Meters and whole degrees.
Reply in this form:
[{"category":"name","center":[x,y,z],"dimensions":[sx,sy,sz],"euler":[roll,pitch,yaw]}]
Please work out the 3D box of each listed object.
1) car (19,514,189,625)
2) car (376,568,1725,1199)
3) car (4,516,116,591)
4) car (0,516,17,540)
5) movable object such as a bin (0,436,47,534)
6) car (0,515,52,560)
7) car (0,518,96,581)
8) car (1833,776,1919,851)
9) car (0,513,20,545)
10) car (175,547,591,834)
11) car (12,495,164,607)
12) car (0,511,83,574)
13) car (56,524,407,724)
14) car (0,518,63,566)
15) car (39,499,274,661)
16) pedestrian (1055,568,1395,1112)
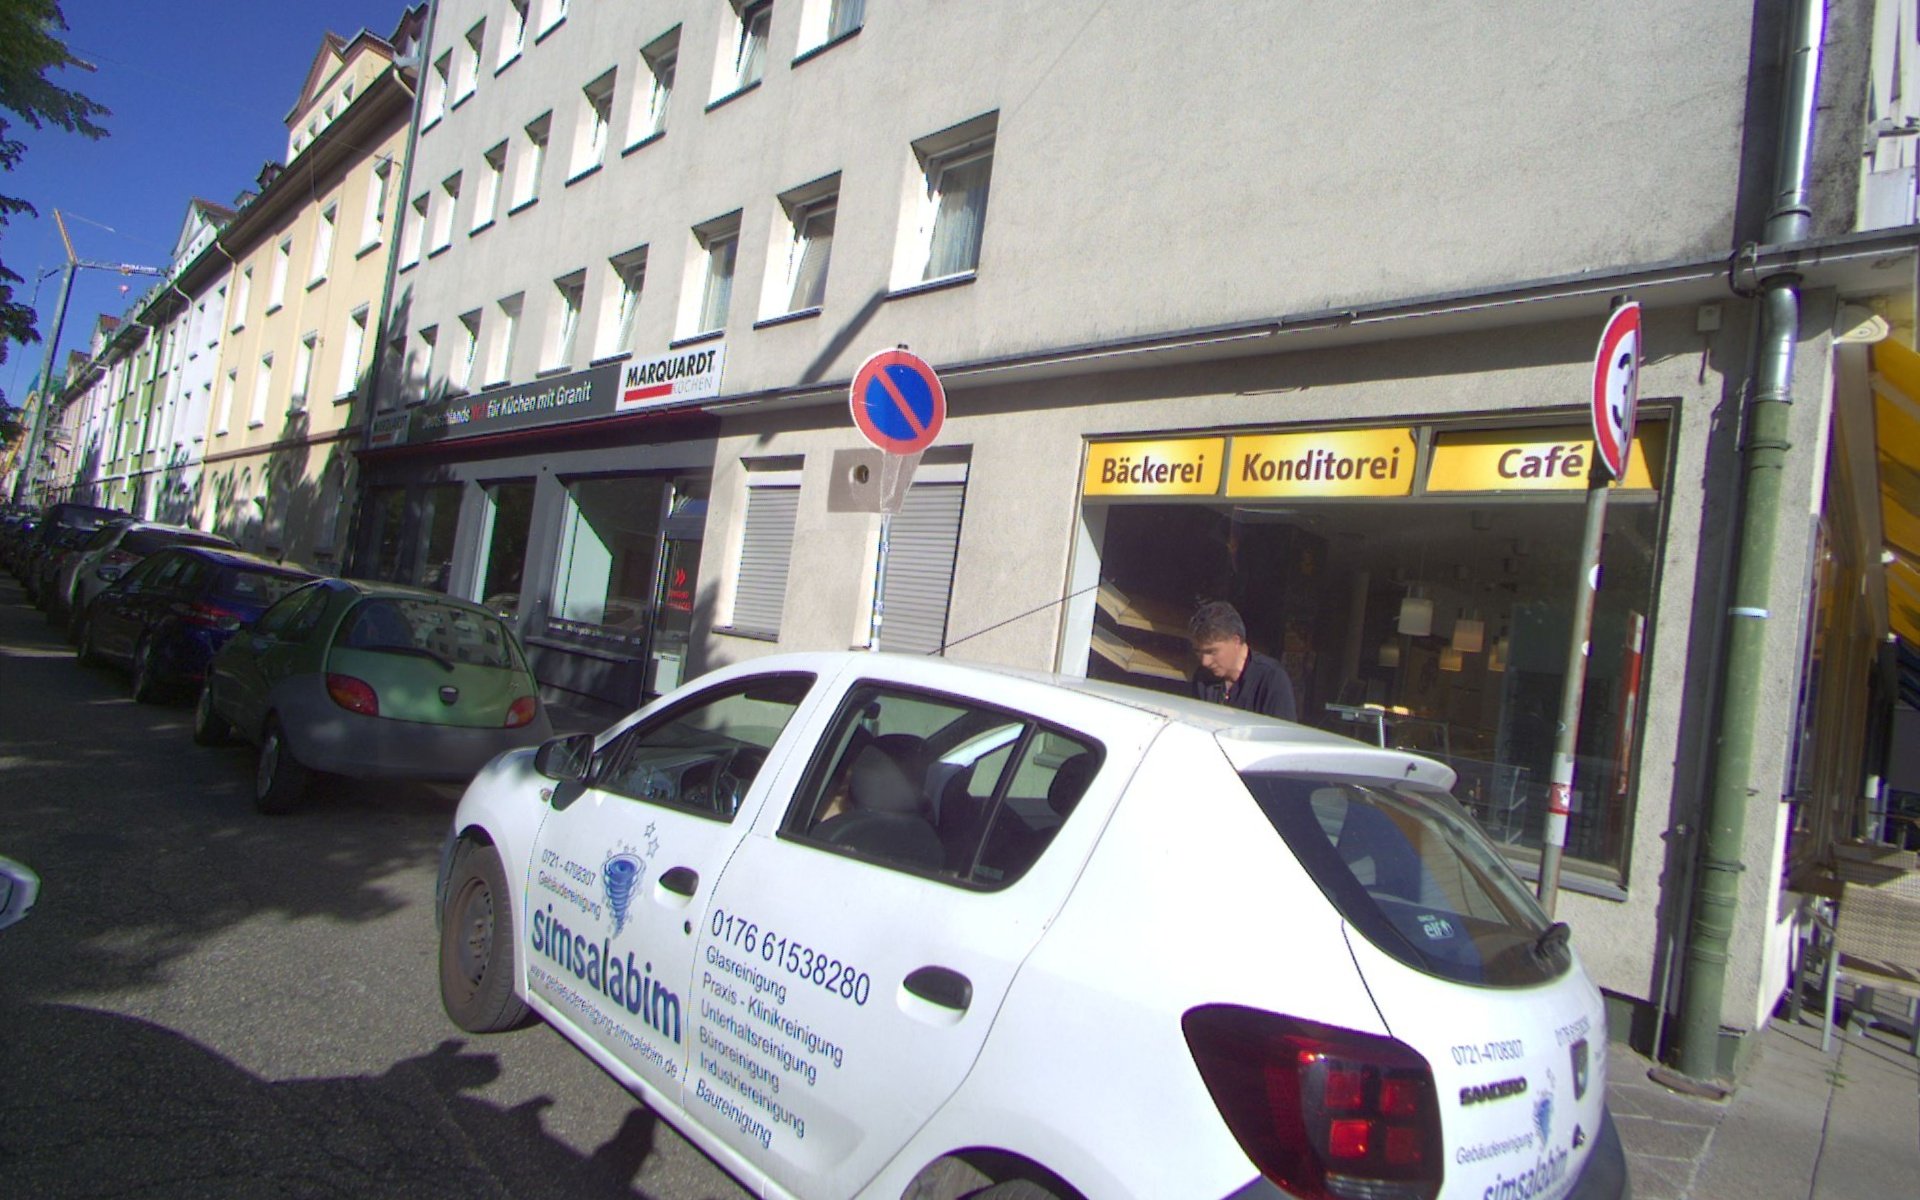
[{"category":"car","center":[-15.398,-0.592,18.012],"dimensions":[4.183,1.516,1.760],"euler":[5,-4,44]},{"category":"car","center":[-0.242,0.870,3.204],"dimensions":[1.716,1.514,3.972],"euler":[11,-4,-44]},{"category":"car","center":[-22.991,-1.201,25.658],"dimensions":[3.546,1.514,1.621],"euler":[6,-4,42]},{"category":"car","center":[-63.467,-4.899,65.938],"dimensions":[4.441,1.424,1.993],"euler":[6,-5,43]},{"category":"movable object such as a bin","center":[-72.528,-8.814,76.163],"dimensions":[3.436,6.832,2.364],"euler":[9,-3,-14]},{"category":"car","center":[-39.230,-2.670,41.795],"dimensions":[4.102,1.545,1.722],"euler":[6,-4,42]},{"category":"car","center":[-26.513,-1.484,29.153],"dimensions":[3.807,1.409,1.549],"euler":[6,-4,41]},{"category":"car","center":[25.035,5.662,25.673],"dimensions":[1.630,1.598,3.999],"euler":[8,-3,-7]},{"category":"car","center":[-57.232,-4.332,59.686],"dimensions":[4.613,1.692,1.814],"euler":[5,-4,45]},{"category":"car","center":[-4.340,0.533,7.319],"dimensions":[3.626,1.479,1.594],"euler":[5,-4,45]},{"category":"car","center":[-18.927,-1.091,21.753],"dimensions":[4.783,1.921,1.946],"euler":[5,-4,45]},{"category":"car","center":[-30.910,-1.950,33.666],"dimensions":[4.101,1.704,1.722],"euler":[6,-4,42]},{"category":"car","center":[-7.695,0.172,10.461],"dimensions":[4.377,1.479,1.803],"euler":[6,-4,40]},{"category":"car","center":[-35.328,-2.212,37.988],"dimensions":[4.104,1.448,1.721],"euler":[5,-4,44]},{"category":"car","center":[-11.414,-0.352,14.162],"dimensions":[4.449,1.772,1.761],"euler":[6,-4,43]},{"category":"pedestrian","center":[0.993,0.815,3.776],"dimensions":[0.756,1.741,0.737],"euler":[9,-2,-40]}]
